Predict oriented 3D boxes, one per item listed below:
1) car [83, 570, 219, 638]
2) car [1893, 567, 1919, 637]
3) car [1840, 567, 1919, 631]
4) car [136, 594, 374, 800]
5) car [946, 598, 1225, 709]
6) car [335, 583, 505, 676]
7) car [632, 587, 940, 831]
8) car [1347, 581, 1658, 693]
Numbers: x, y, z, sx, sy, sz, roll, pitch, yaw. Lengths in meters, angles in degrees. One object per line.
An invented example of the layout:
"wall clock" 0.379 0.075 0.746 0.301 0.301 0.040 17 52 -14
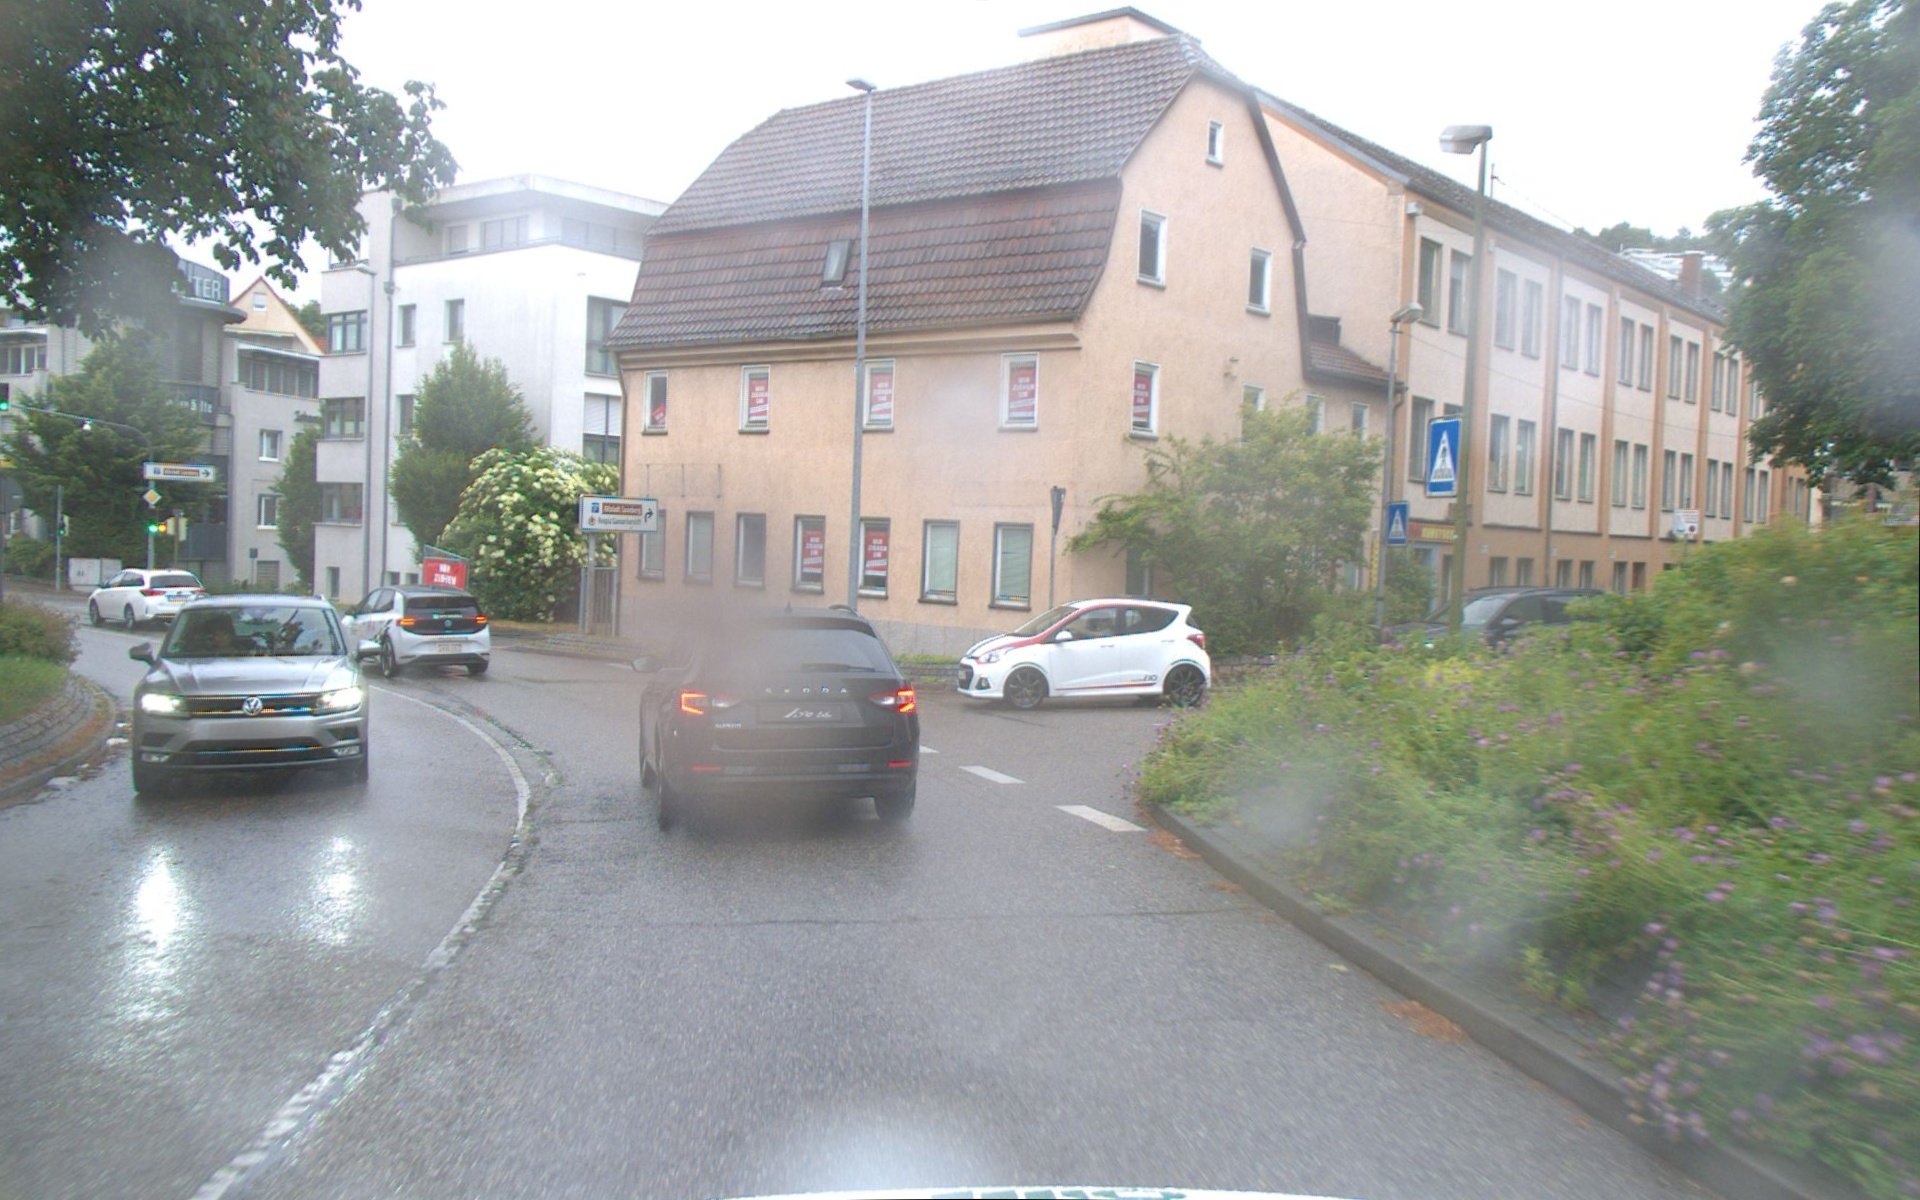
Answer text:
"car" -20.446 0.109 41.756 4.111 1.618 1.722 0 -1 43
"car" 23.581 0.081 37.672 3.832 1.600 1.710 2 2 40
"car" 25.055 -0.016 42.359 4.318 1.600 1.718 1 1 26
"car" -6.277 0.771 15.118 1.702 1.570 4.275 -1 0 -19
"car" 1.762 0.728 23.773 3.686 1.478 1.707 0 1 -13
"car" -9.796 0.490 29.833 1.803 1.383 3.940 1 2 -36
"car" -1.490 0.742 12.552 1.752 1.509 4.229 0 -2 -14
"car" 8.271 0.512 25.284 4.333 1.600 1.712 0 1 -16
